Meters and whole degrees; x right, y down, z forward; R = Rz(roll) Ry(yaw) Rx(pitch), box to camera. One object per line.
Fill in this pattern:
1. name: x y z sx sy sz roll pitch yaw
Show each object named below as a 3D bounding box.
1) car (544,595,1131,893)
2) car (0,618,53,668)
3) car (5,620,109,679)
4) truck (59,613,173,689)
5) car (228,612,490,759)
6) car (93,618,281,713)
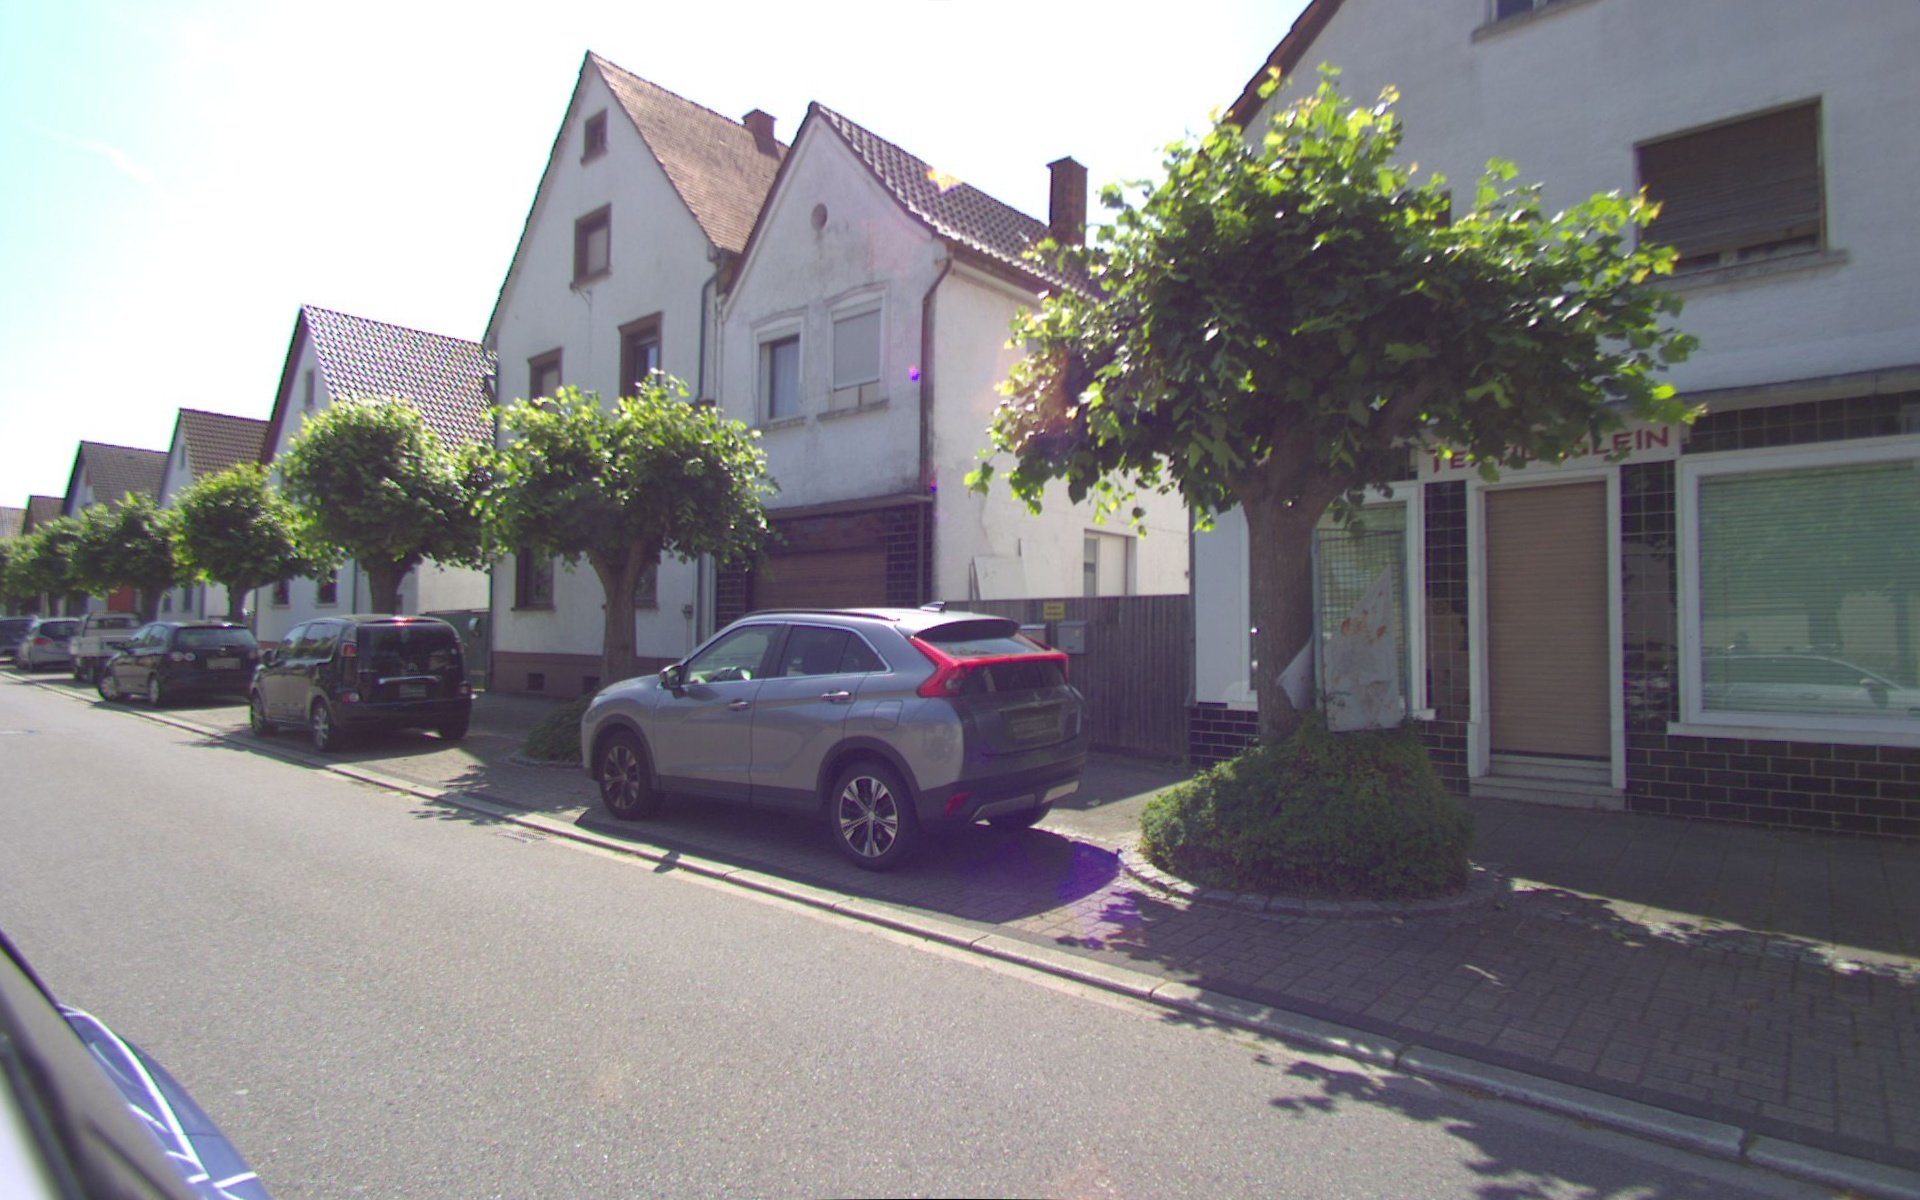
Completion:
1. car: -1.092 0.865 7.796 4.360 1.665 1.975 -1 -2 37
2. car: -33.406 1.503 35.506 4.296 1.649 1.834 -2 -1 41
3. car: -27.764 1.444 31.064 4.368 1.625 1.834 -1 0 41
4. truck: -21.455 1.225 25.676 4.190 1.778 1.560 -1 0 41
5. car: -8.121 0.995 13.537 4.054 1.647 1.834 -1 -1 41
6. car: -14.934 1.176 19.503 3.991 1.646 1.770 -1 -1 35
